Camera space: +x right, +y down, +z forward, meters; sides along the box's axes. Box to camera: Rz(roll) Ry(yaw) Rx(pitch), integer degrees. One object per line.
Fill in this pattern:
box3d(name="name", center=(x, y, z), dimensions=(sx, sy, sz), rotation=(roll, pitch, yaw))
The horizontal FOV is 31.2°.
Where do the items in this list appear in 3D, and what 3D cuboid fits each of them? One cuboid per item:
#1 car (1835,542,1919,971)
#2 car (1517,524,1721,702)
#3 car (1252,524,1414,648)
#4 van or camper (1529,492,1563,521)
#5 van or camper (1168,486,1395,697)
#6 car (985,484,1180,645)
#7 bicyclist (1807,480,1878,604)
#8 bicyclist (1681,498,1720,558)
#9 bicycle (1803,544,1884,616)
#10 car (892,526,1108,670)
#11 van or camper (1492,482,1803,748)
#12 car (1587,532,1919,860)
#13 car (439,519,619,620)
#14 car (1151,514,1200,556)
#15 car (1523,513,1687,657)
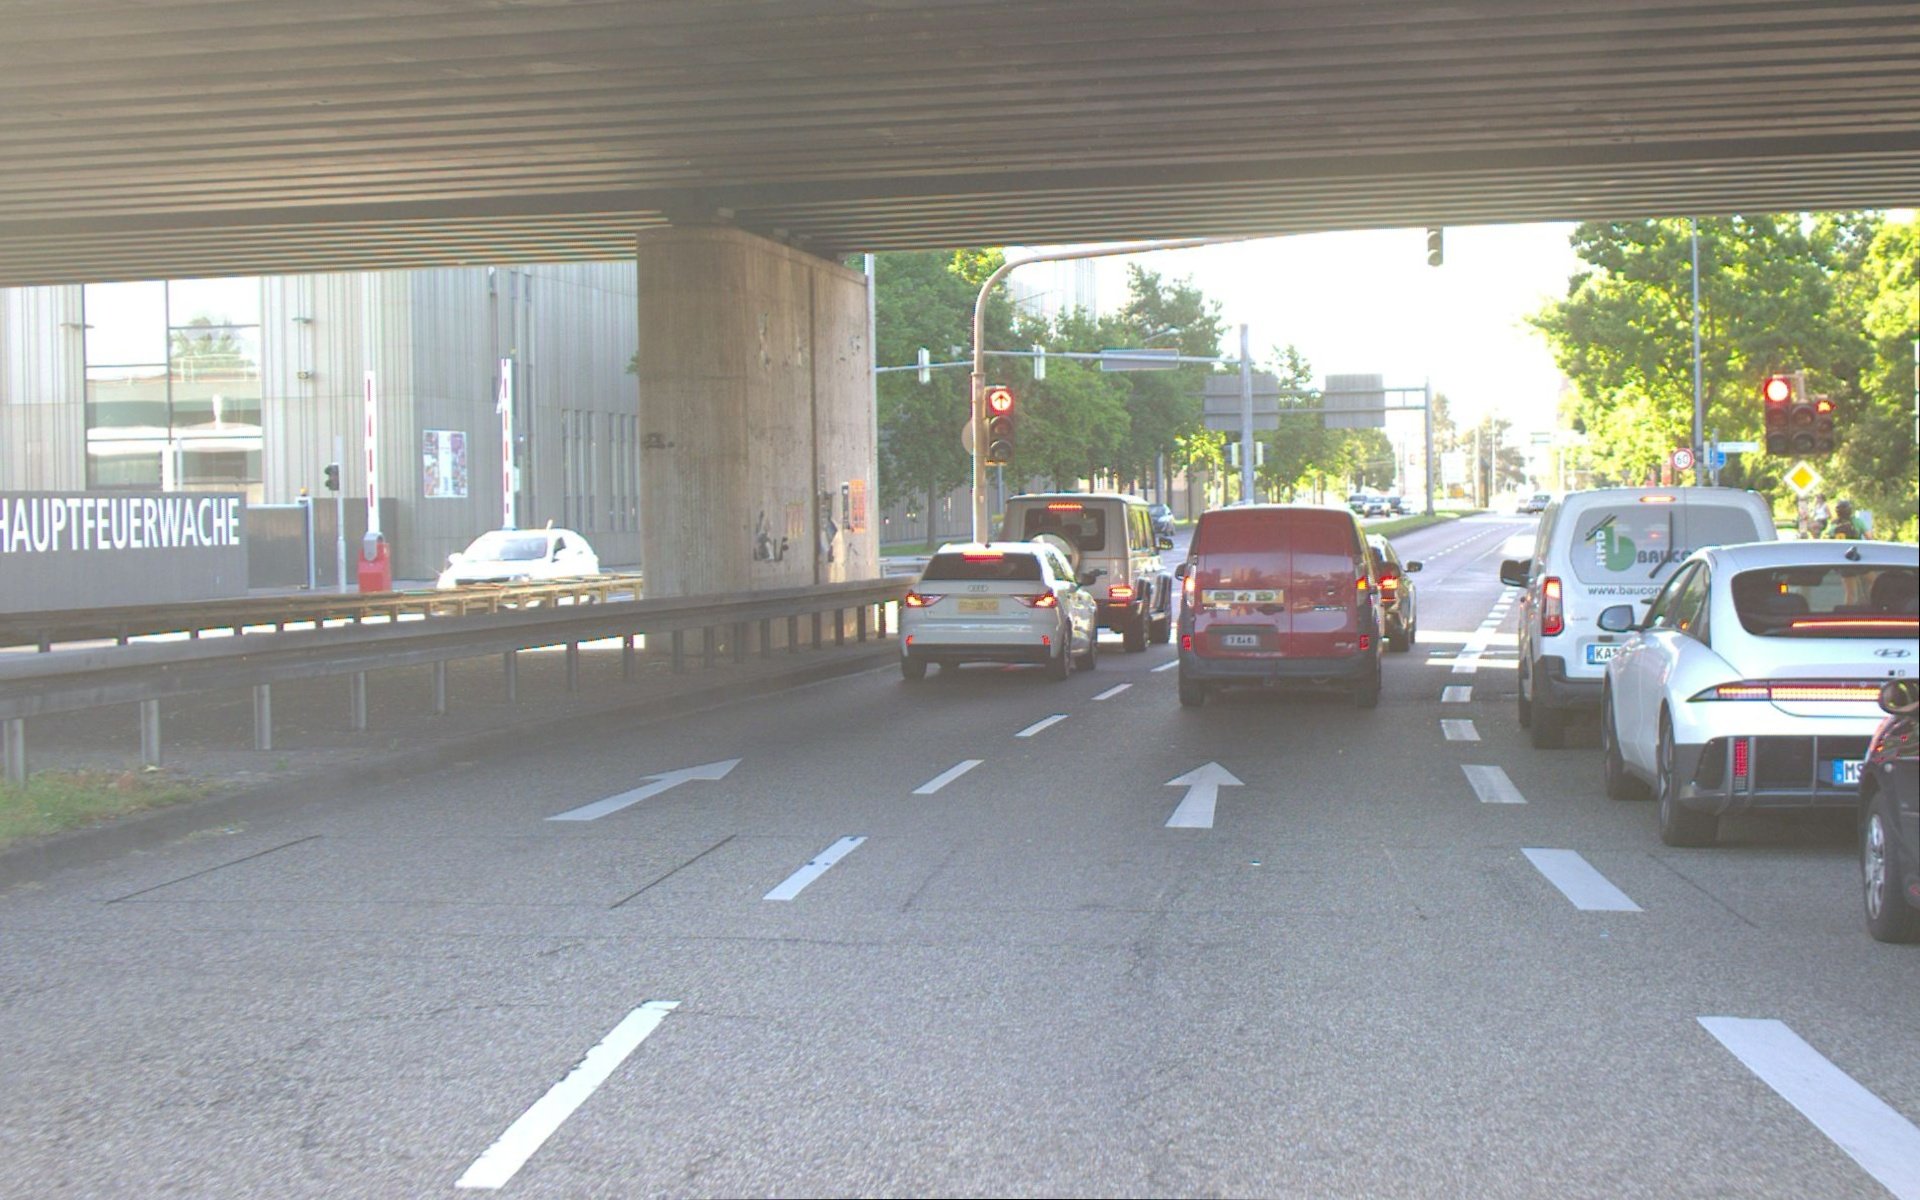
box3d(name="car", center=(4.029, 0.552, 11.315), dimensions=(1.604, 1.429, 3.678), rotation=(1, 2, 5))
box3d(name="car", center=(5.958, 0.077, 31.258), dimensions=(1.709, 1.517, 3.741), rotation=(0, 1, 10))
box3d(name="car", center=(4.784, -0.200, 43.635), dimensions=(1.764, 1.470, 4.287), rotation=(-1, 1, 10))
box3d(name="van or camper", center=(40.397, -6.429, 236.923), dimensions=(1.787, 1.857, 3.905), rotation=(-3, 1, 16))
box3d(name="van or camper", center=(3.017, -0.110, 31.582), dimensions=(1.755, 1.807, 3.957), rotation=(0, 1, 10))
box3d(name="car", center=(1.626, -0.468, 43.982), dimensions=(1.867, 1.940, 4.594), rotation=(0, 1, 10))
box3d(name="bicyclist", center=(11.642, -0.764, 45.356), dimensions=(0.751, 1.578, 0.925), rotation=(-3, 0, 9))
box3d(name="bicyclist", center=(19.960, -1.940, 92.639), dimensions=(0.923, 1.578, 0.769), rotation=(-3, 0, 14))
box3d(name="bicycle", center=(11.697, -0.273, 45.560), dimensions=(0.772, 0.890, 1.996), rotation=(-3, 1, 8))
box3d(name="car", center=(0.477, -0.049, 36.547), dimensions=(1.709, 1.447, 3.741), rotation=(0, 1, 10))
box3d(name="van or camper", center=(4.988, 0.064, 25.481), dimensions=(1.826, 1.785, 4.544), rotation=(0, 1, 6))
box3d(name="car", center=(4.333, 0.403, 17.652), dimensions=(1.763, 1.470, 4.288), rotation=(-1, 1, 5))
box3d(name="car", center=(-7.207, -0.524, 57.844), dimensions=(1.784, 1.639, 4.199), rotation=(0, 1, 11))
box3d(name="car", center=(10.092, -3.015, 160.643), dimensions=(1.786, 1.857, 3.907), rotation=(-3, 1, 10))
box3d(name="car", center=(7.140, -0.194, 38.178), dimensions=(1.709, 1.515, 3.741), rotation=(0, 1, 10))
